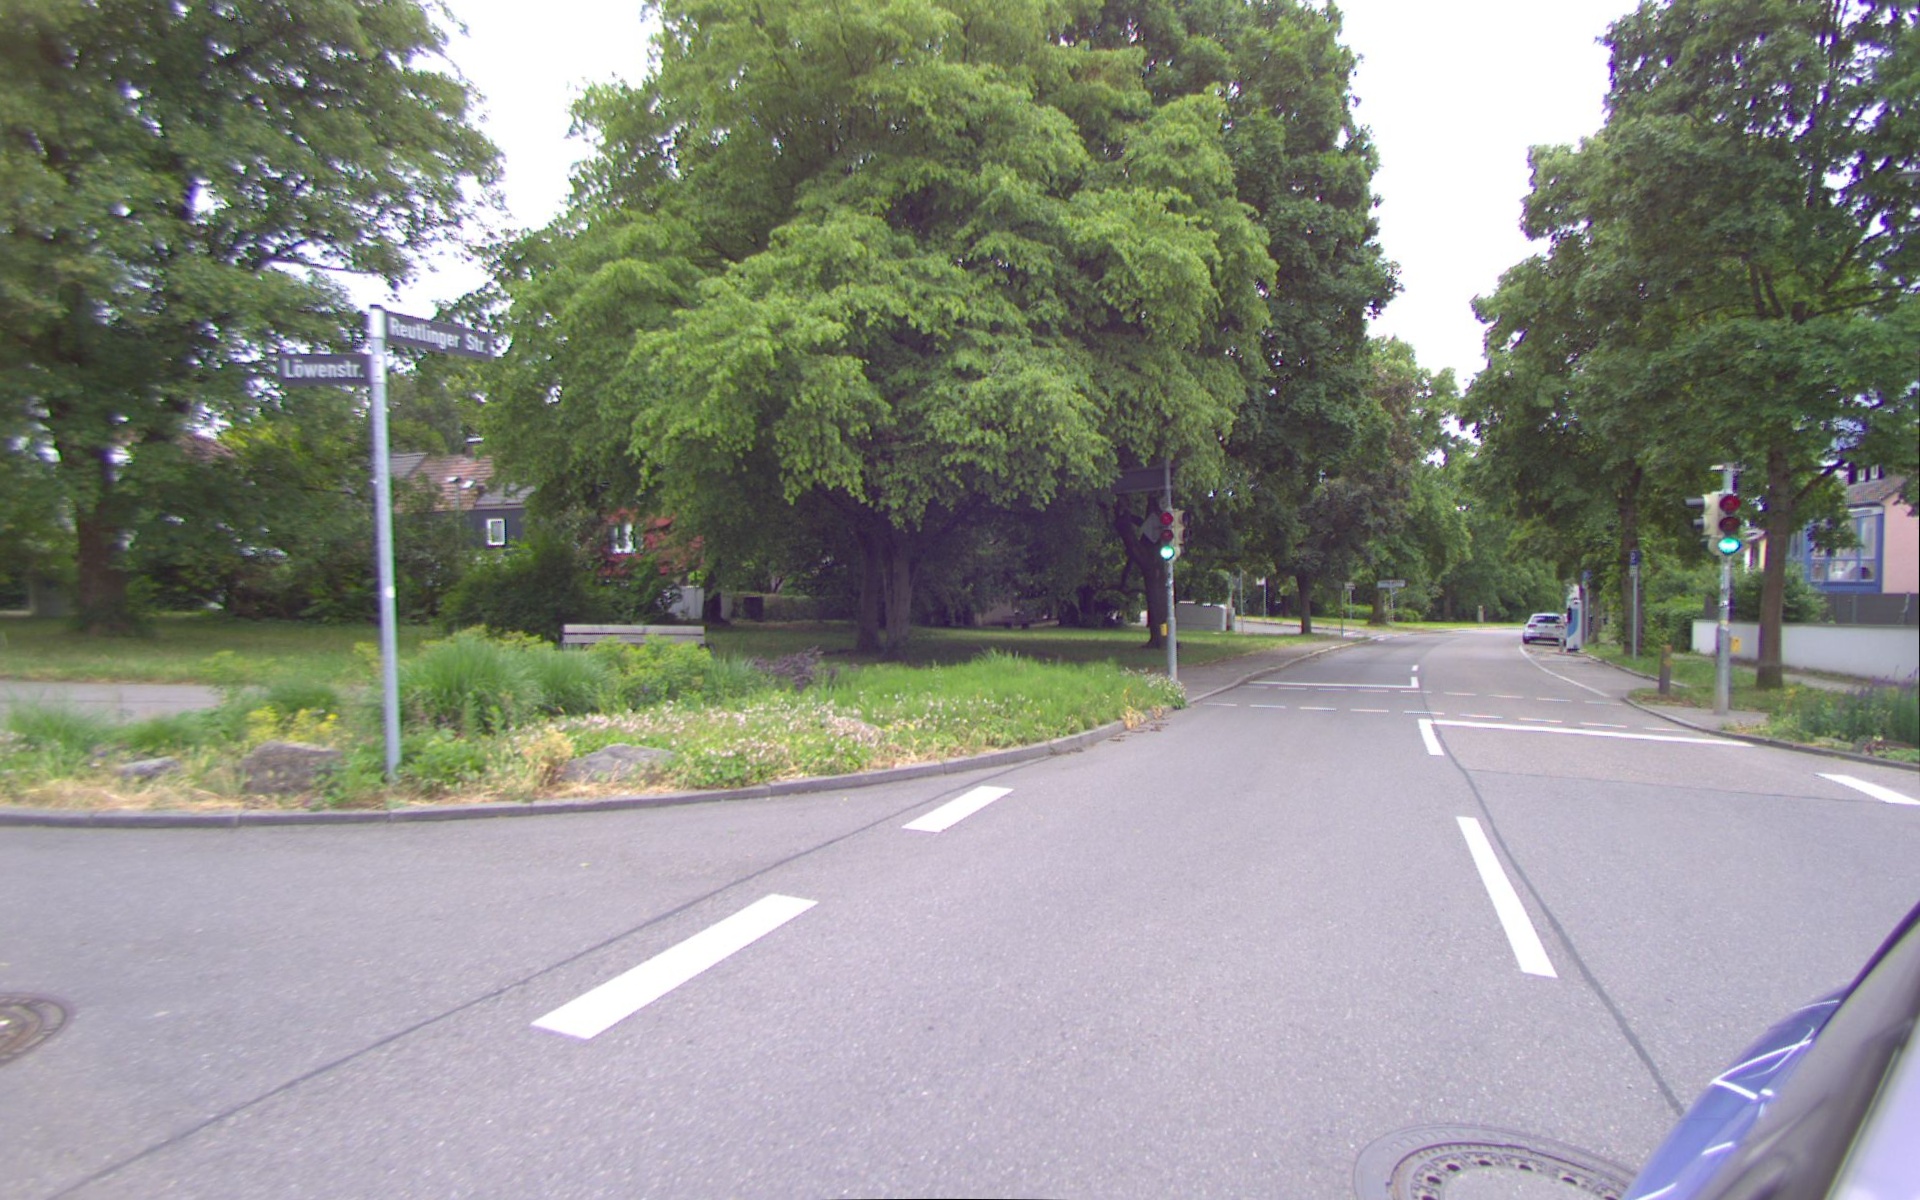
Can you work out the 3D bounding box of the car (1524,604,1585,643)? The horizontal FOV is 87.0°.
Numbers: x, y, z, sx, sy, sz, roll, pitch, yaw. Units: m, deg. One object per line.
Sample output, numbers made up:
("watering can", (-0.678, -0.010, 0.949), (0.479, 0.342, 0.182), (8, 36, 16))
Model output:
("car", (28.466, 1.095, 48.392), (1.990, 1.571, 3.946), (3, 3, 38))
